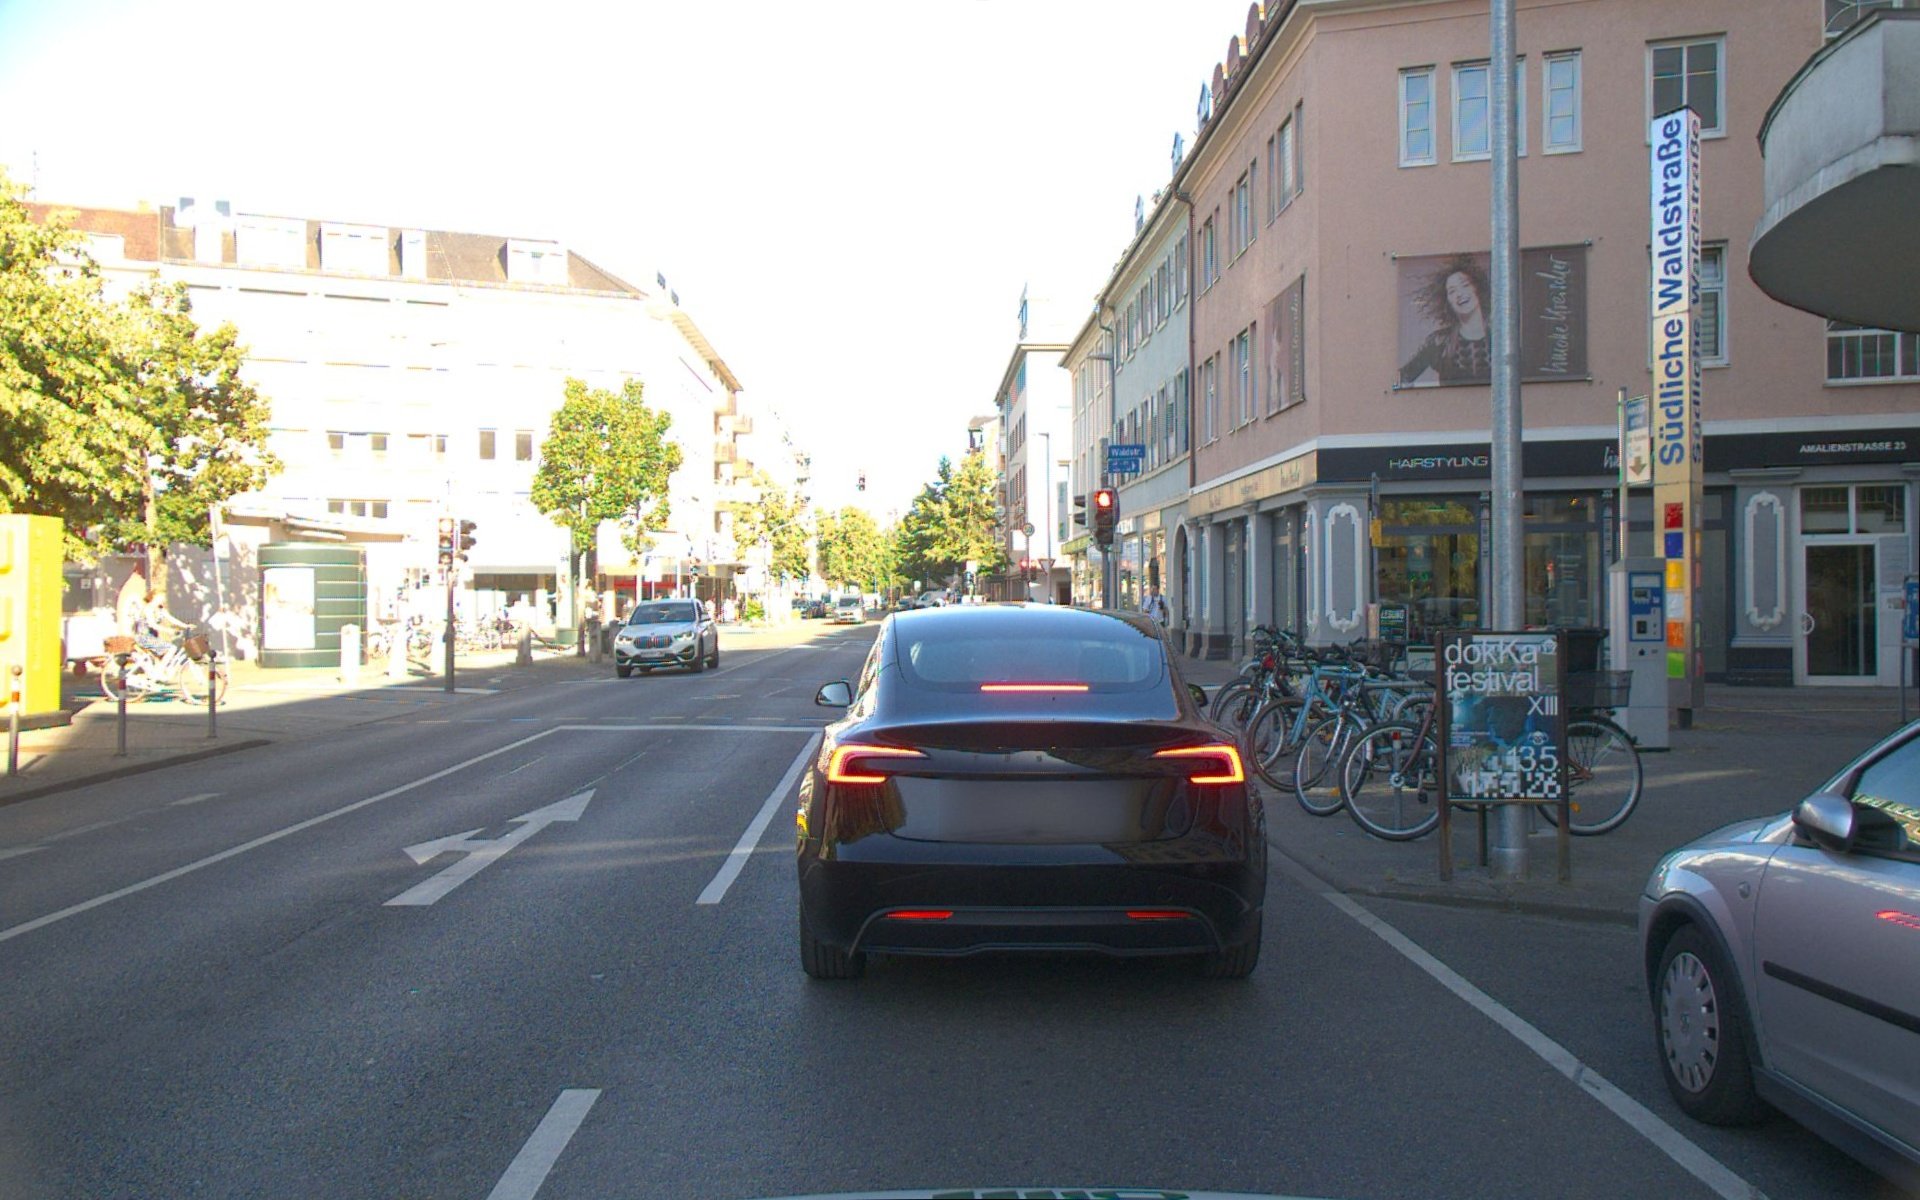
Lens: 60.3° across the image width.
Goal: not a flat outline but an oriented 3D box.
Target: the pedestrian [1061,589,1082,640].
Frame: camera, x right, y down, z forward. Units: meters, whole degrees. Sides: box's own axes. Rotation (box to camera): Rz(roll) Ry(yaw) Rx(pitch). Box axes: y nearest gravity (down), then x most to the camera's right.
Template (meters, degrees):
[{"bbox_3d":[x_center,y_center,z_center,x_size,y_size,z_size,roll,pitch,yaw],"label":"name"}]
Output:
[{"bbox_3d":[3.890,0.498,57.608,0.692,1.773,0.540,0,0,-1],"label":"pedestrian"}]

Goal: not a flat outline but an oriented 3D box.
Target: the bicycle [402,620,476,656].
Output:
[{"bbox_3d":[-14.156,1.028,44.985,1.826,0.950,0.606,0,0,-2],"label":"bicycle"}]

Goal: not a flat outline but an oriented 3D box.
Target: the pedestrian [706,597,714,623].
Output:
[{"bbox_3d":[-14.429,0.554,95.447,0.451,1.486,0.517,0,0,-6],"label":"pedestrian"}]

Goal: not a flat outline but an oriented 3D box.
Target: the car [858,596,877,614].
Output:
[{"bbox_3d":[-10.462,0.543,187.160,1.953,2.049,3.999,1,0,-1],"label":"car"}]

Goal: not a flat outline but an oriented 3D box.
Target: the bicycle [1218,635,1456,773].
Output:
[{"bbox_3d":[3.094,0.851,13.686,1.833,1.056,0.548,-2,-1,5],"label":"bicycle"}]

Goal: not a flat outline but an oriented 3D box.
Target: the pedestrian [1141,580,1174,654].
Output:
[{"bbox_3d":[4.833,0.417,40.559,0.735,1.796,0.837,1,-1,3],"label":"pedestrian"}]

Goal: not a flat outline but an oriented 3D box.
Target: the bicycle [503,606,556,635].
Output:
[{"bbox_3d":[-20.230,0.980,77.711,2.334,1.318,0.509,1,-1,-27],"label":"bicycle"}]

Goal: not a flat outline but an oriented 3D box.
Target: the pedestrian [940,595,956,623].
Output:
[{"bbox_3d":[-0.753,0.578,103.629,0.708,1.725,0.843,0,0,-28],"label":"pedestrian"}]

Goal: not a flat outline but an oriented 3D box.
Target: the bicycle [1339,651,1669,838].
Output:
[{"bbox_3d":[3.267,0.868,10.022,1.833,1.056,0.353,-2,-1,6],"label":"bicycle"}]

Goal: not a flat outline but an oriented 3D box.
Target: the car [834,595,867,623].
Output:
[{"bbox_3d":[-6.694,0.537,101.537,1.751,1.675,4.401,1,0,-1],"label":"car"}]

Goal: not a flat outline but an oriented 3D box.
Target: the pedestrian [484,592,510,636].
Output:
[{"bbox_3d":[-21.988,0.653,78.537,1.037,2.049,1.053,1,-1,-8],"label":"pedestrian"}]

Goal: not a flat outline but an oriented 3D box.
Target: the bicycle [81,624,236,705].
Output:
[{"bbox_3d":[-11.675,0.934,24.149,1.900,1.137,0.707,0,0,-12],"label":"bicycle"}]

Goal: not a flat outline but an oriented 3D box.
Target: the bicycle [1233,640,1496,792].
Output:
[{"bbox_3d":[3.026,0.867,12.480,1.834,1.056,0.533,-2,-1,3],"label":"bicycle"}]

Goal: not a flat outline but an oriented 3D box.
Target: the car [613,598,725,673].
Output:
[{"bbox_3d":[-6.288,0.745,36.073,1.752,1.485,3.756,-2,0,-1],"label":"car"}]

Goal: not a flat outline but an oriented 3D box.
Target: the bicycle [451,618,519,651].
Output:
[{"bbox_3d":[-14.237,1.021,49.597,1.826,0.950,0.606,1,0,-2],"label":"bicycle"}]

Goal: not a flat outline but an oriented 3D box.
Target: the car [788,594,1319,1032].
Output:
[{"bbox_3d":[0.290,0.725,7.562,1.785,1.467,3.999,0,0,-1],"label":"car"}]

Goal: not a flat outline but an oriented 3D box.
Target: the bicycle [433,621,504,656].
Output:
[{"bbox_3d":[-14.001,1.090,47.126,1.826,0.950,0.606,1,0,-2],"label":"bicycle"}]

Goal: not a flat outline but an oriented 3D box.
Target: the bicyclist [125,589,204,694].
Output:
[{"bbox_3d":[-11.610,0.604,24.157,0.875,1.508,0.699,1,0,-12],"label":"bicyclist"}]

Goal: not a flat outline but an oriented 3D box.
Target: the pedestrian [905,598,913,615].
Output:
[{"bbox_3d":[-6.288,0.825,203.661,0.912,2.049,0.938,1,-1,-1],"label":"pedestrian"}]

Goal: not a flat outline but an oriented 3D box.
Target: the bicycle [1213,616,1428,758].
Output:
[{"bbox_3d":[3.203,0.770,14.790,1.789,1.189,0.506,-2,-1,5],"label":"bicycle"}]

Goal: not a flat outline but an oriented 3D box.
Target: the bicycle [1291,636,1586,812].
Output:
[{"bbox_3d":[3.217,0.832,11.199,1.834,1.106,0.414,-2,-1,3],"label":"bicycle"}]

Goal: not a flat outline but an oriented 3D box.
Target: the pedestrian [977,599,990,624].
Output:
[{"bbox_3d":[1.350,0.652,95.222,0.516,1.447,0.474,1,-1,-31],"label":"pedestrian"}]

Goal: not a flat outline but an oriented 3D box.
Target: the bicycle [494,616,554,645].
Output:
[{"bbox_3d":[-14.368,0.996,54.497,1.826,0.950,0.606,0,0,-2],"label":"bicycle"}]

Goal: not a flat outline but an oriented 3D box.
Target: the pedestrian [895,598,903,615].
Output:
[{"bbox_3d":[-7.541,0.803,203.442,0.912,2.049,0.938,1,-1,-1],"label":"pedestrian"}]

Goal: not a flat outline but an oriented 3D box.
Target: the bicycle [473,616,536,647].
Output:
[{"bbox_3d":[-14.332,0.986,52.049,1.826,0.950,0.606,0,0,-2],"label":"bicycle"}]

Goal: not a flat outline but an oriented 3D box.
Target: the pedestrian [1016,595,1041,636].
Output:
[{"bbox_3d":[2.860,0.645,69.348,0.742,1.660,0.951,1,-1,-18],"label":"pedestrian"}]

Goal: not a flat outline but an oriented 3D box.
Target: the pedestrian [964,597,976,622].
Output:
[{"bbox_3d":[0.599,0.542,95.832,0.467,1.442,0.516,1,-1,-32],"label":"pedestrian"}]

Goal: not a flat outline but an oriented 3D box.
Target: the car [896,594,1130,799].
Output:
[{"bbox_3d":[0.315,0.690,13.789,1.683,1.450,3.755,0,0,-2],"label":"car"}]

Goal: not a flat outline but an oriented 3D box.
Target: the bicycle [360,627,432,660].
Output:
[{"bbox_3d":[-14.450,1.114,42.397,1.612,0.806,0.606,1,0,-5],"label":"bicycle"}]

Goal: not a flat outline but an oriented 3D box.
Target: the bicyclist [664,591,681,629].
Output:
[{"bbox_3d":[-11.473,0.397,65.960,0.516,1.530,0.472,1,-1,-26],"label":"bicyclist"}]

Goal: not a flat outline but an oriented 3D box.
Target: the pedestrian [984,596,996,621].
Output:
[{"bbox_3d":[1.717,0.486,95.823,0.516,1.447,0.474,1,-1,-31],"label":"pedestrian"}]

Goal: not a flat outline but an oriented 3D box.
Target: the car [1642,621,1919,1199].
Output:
[{"bbox_3d":[2.914,0.769,3.499,1.515,1.415,3.476,0,0,0],"label":"car"}]
